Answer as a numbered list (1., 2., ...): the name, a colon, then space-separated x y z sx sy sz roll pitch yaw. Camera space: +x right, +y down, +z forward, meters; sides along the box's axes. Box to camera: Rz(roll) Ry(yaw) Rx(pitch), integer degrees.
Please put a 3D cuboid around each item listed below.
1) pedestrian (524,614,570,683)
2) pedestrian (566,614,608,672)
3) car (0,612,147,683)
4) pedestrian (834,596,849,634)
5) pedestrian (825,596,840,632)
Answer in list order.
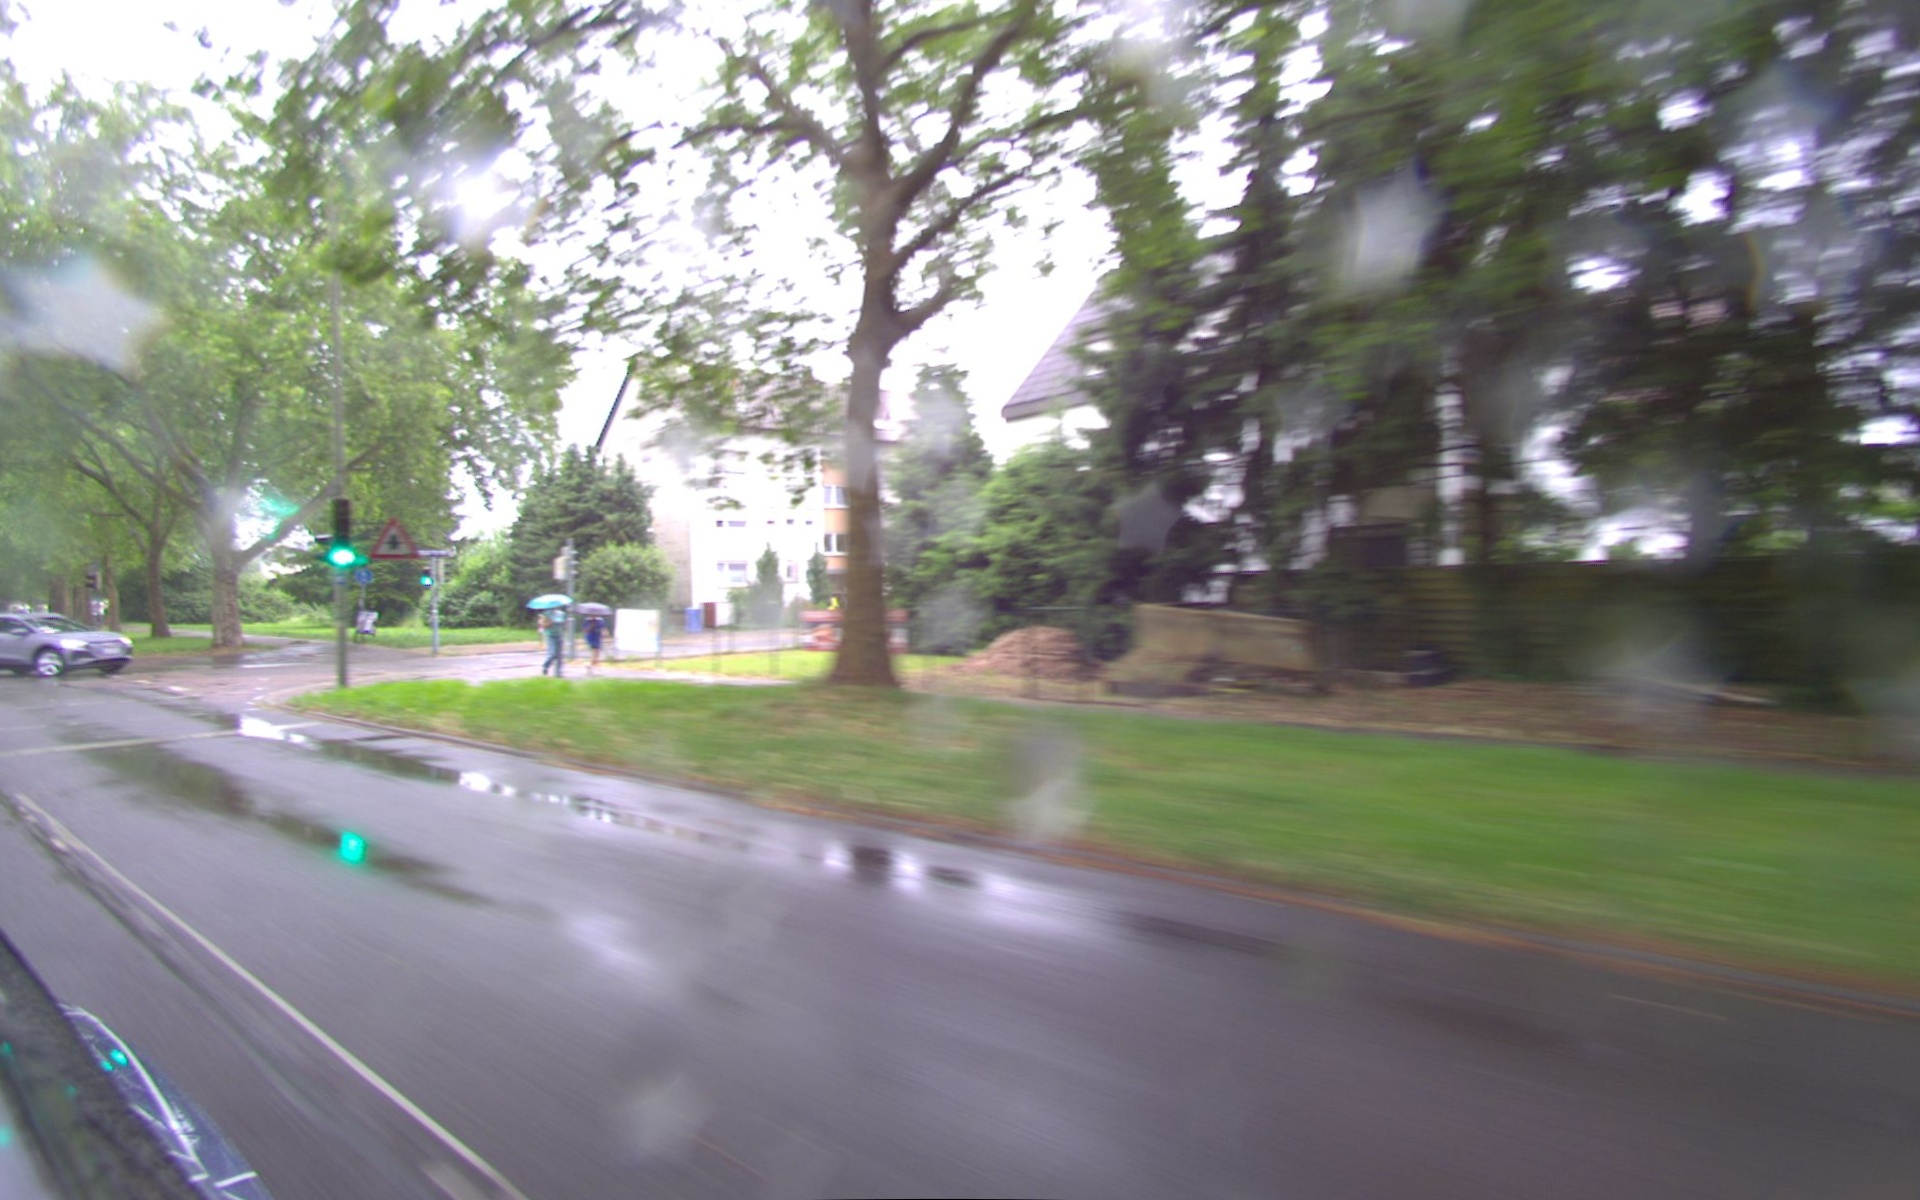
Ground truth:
1. pedestrian: -9.082 1.047 22.252 0.856 1.464 0.591 -1 0 41
2. pedestrian: -8.450 0.959 22.922 0.849 1.271 0.511 -1 0 41
3. car: -24.226 1.221 26.436 4.666 1.700 1.995 -1 0 8
4. pedestrian: -5.603 0.717 47.846 0.460 1.796 0.500 -1 0 33
5. pedestrian: -6.124 0.665 48.659 0.460 1.717 0.500 -1 0 33
